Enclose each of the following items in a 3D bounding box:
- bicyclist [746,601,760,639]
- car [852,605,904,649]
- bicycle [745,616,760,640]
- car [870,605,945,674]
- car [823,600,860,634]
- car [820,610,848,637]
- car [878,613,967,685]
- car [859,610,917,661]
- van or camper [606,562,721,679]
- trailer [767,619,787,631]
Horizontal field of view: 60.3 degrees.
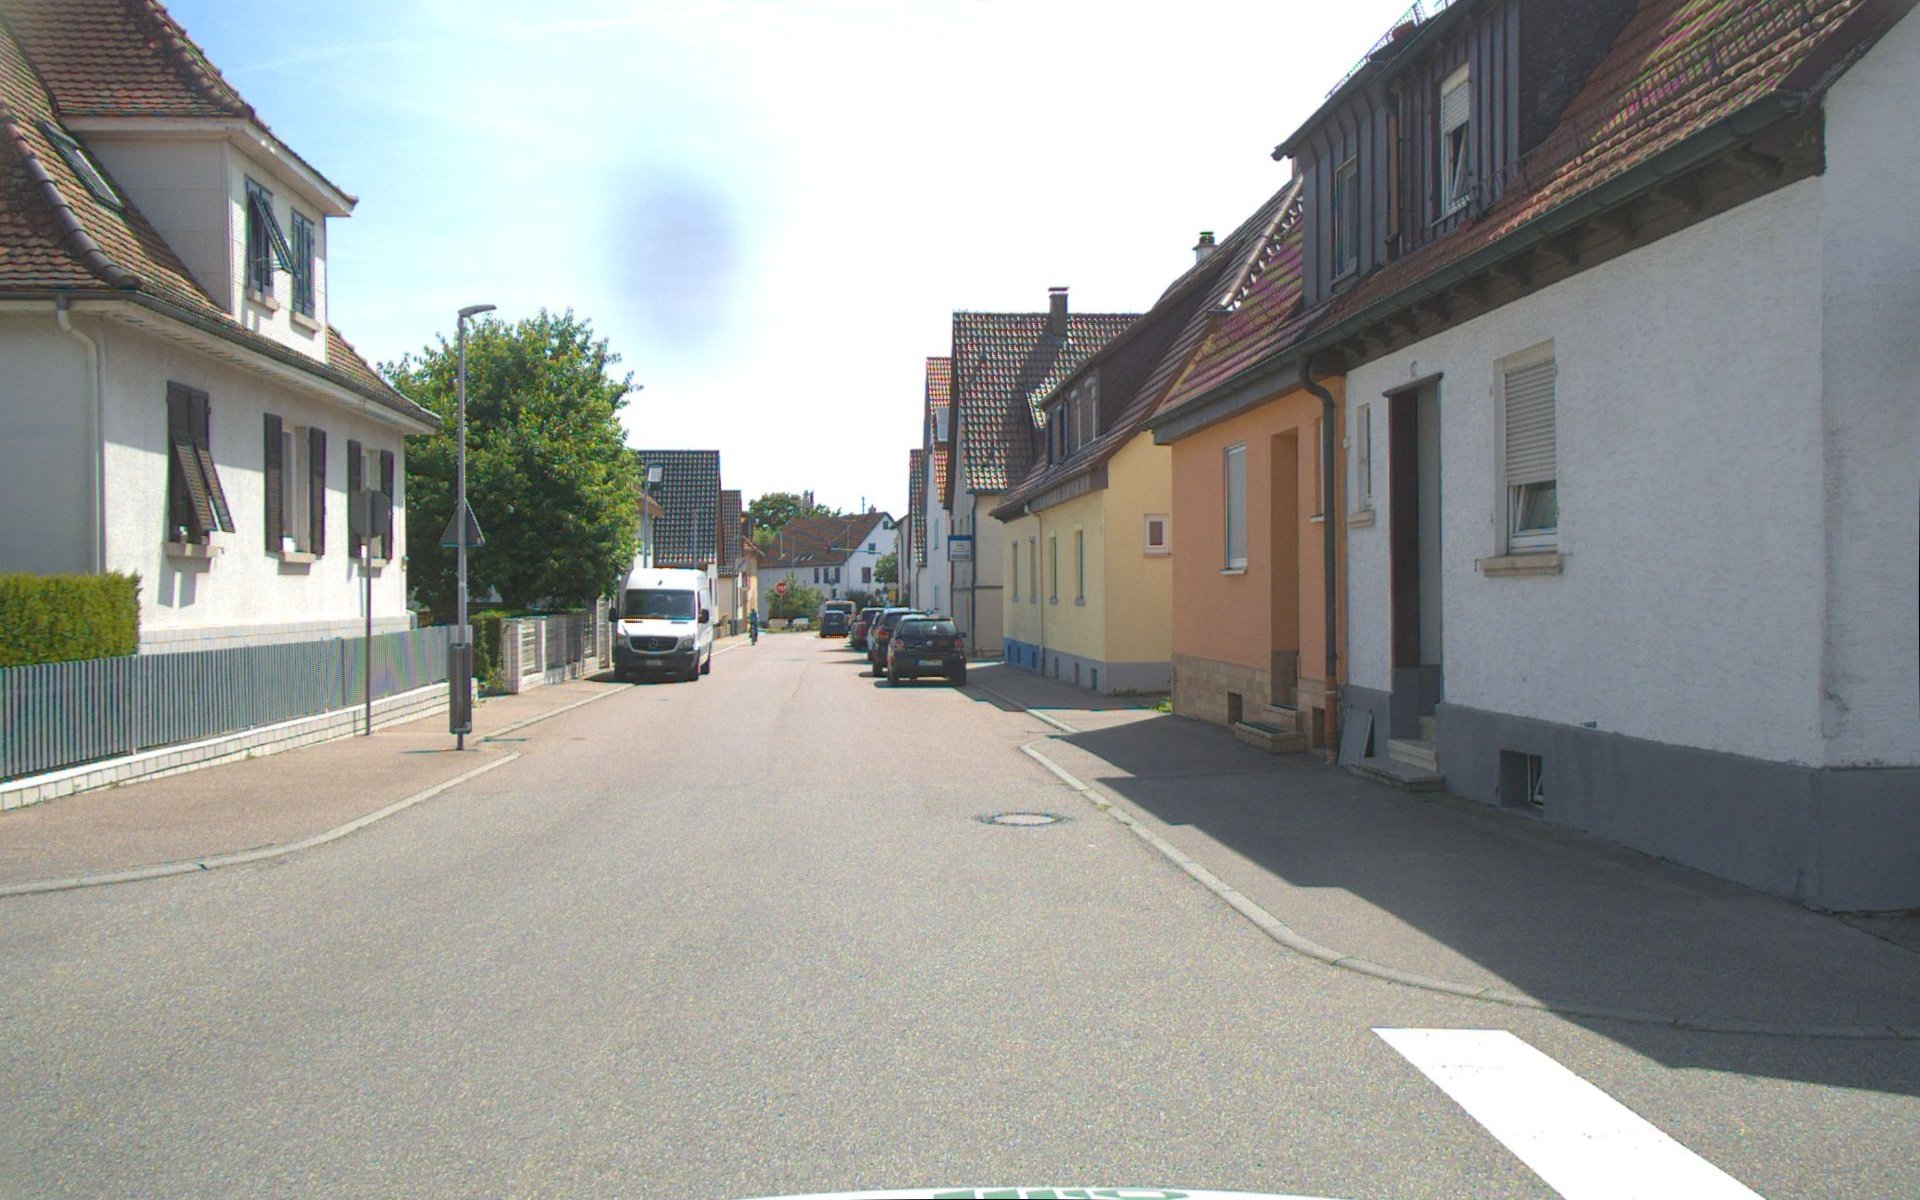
[{"bbox_3d":[-10.135,0.977,80.962,0.699,1.830,0.940,0,-1,-7],"label":"bicyclist"},{"bbox_3d":[-3.398,1.096,67.957,1.840,1.730,4.177,0,0,-7],"label":"car"},{"bbox_3d":[-10.149,1.376,80.913,0.657,1.152,2.186,0,0,-6],"label":"bicycle"},{"bbox_3d":[-1.349,0.937,41.157,1.694,1.628,4.249,0,0,-4],"label":"car"},{"bbox_3d":[-8.066,1.155,113.037,2.085,2.196,4.737,-1,0,1],"label":"car"},{"bbox_3d":[-7.534,1.373,98.937,1.485,1.594,3.183,0,0,-1],"label":"car"},{"bbox_3d":[-0.851,1.011,35.626,1.580,1.456,3.748,0,0,-7],"label":"car"},{"bbox_3d":[-2.332,1.103,53.043,1.642,1.586,3.035,0,0,-7],"label":"car"},{"bbox_3d":[-7.155,0.487,40.601,2.142,2.617,6.799,0,0,-5],"label":"van or camper"},{"bbox_3d":[-14.165,1.941,128.180,1.472,0.944,1.011,1,-1,-4],"label":"trailer"}]
